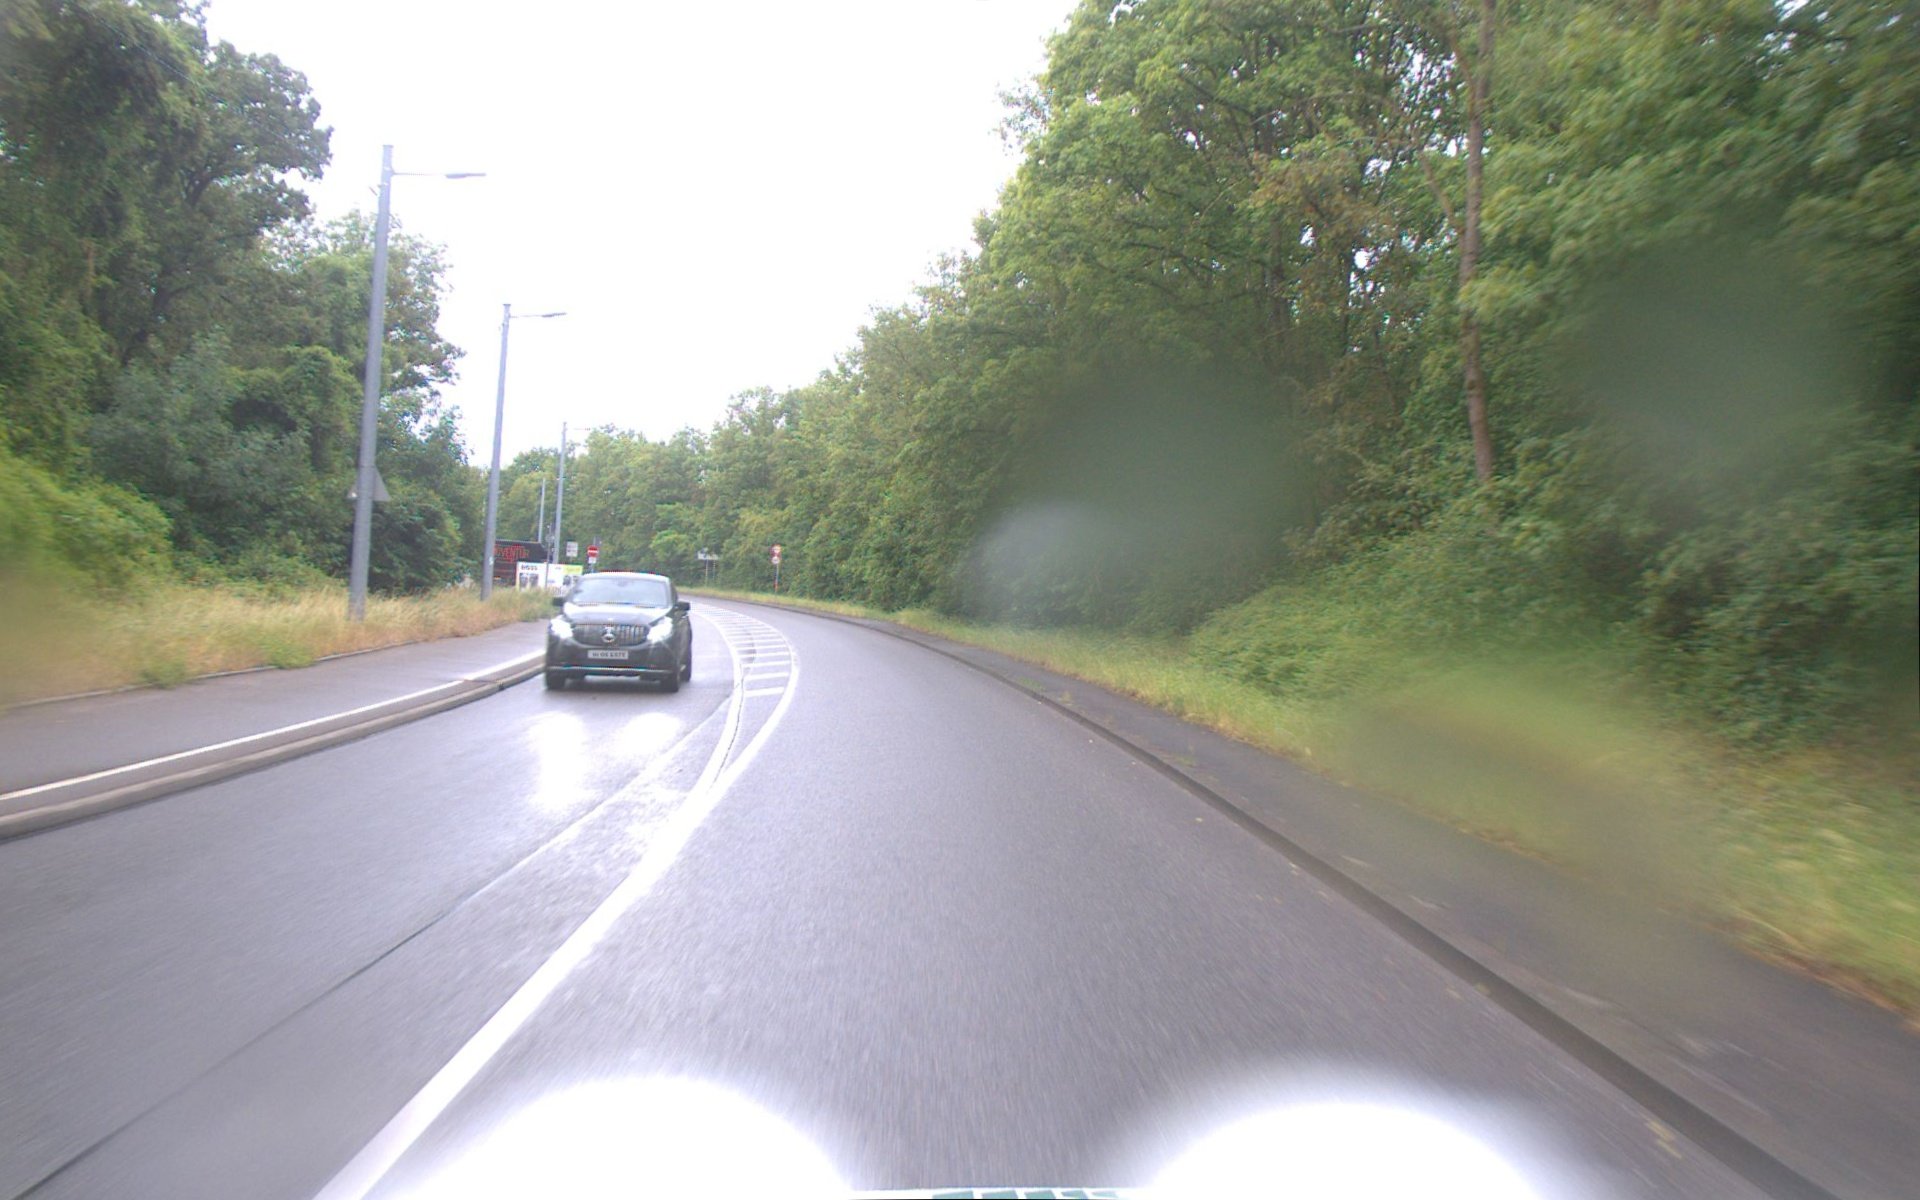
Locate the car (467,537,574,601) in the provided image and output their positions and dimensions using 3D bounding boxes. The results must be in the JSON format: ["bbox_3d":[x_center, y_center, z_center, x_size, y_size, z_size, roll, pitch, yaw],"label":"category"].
[{"bbox_3d":[-25.832,-1.771,97.147,5.860,3.563,1.988,1,0,-21],"label":"car"}]

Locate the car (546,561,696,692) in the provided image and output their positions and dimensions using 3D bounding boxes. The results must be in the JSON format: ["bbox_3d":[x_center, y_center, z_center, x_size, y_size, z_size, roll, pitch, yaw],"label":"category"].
[{"bbox_3d":[-5.214,0.364,25.991,1.956,1.818,4.699,2,0,-8],"label":"car"}]
